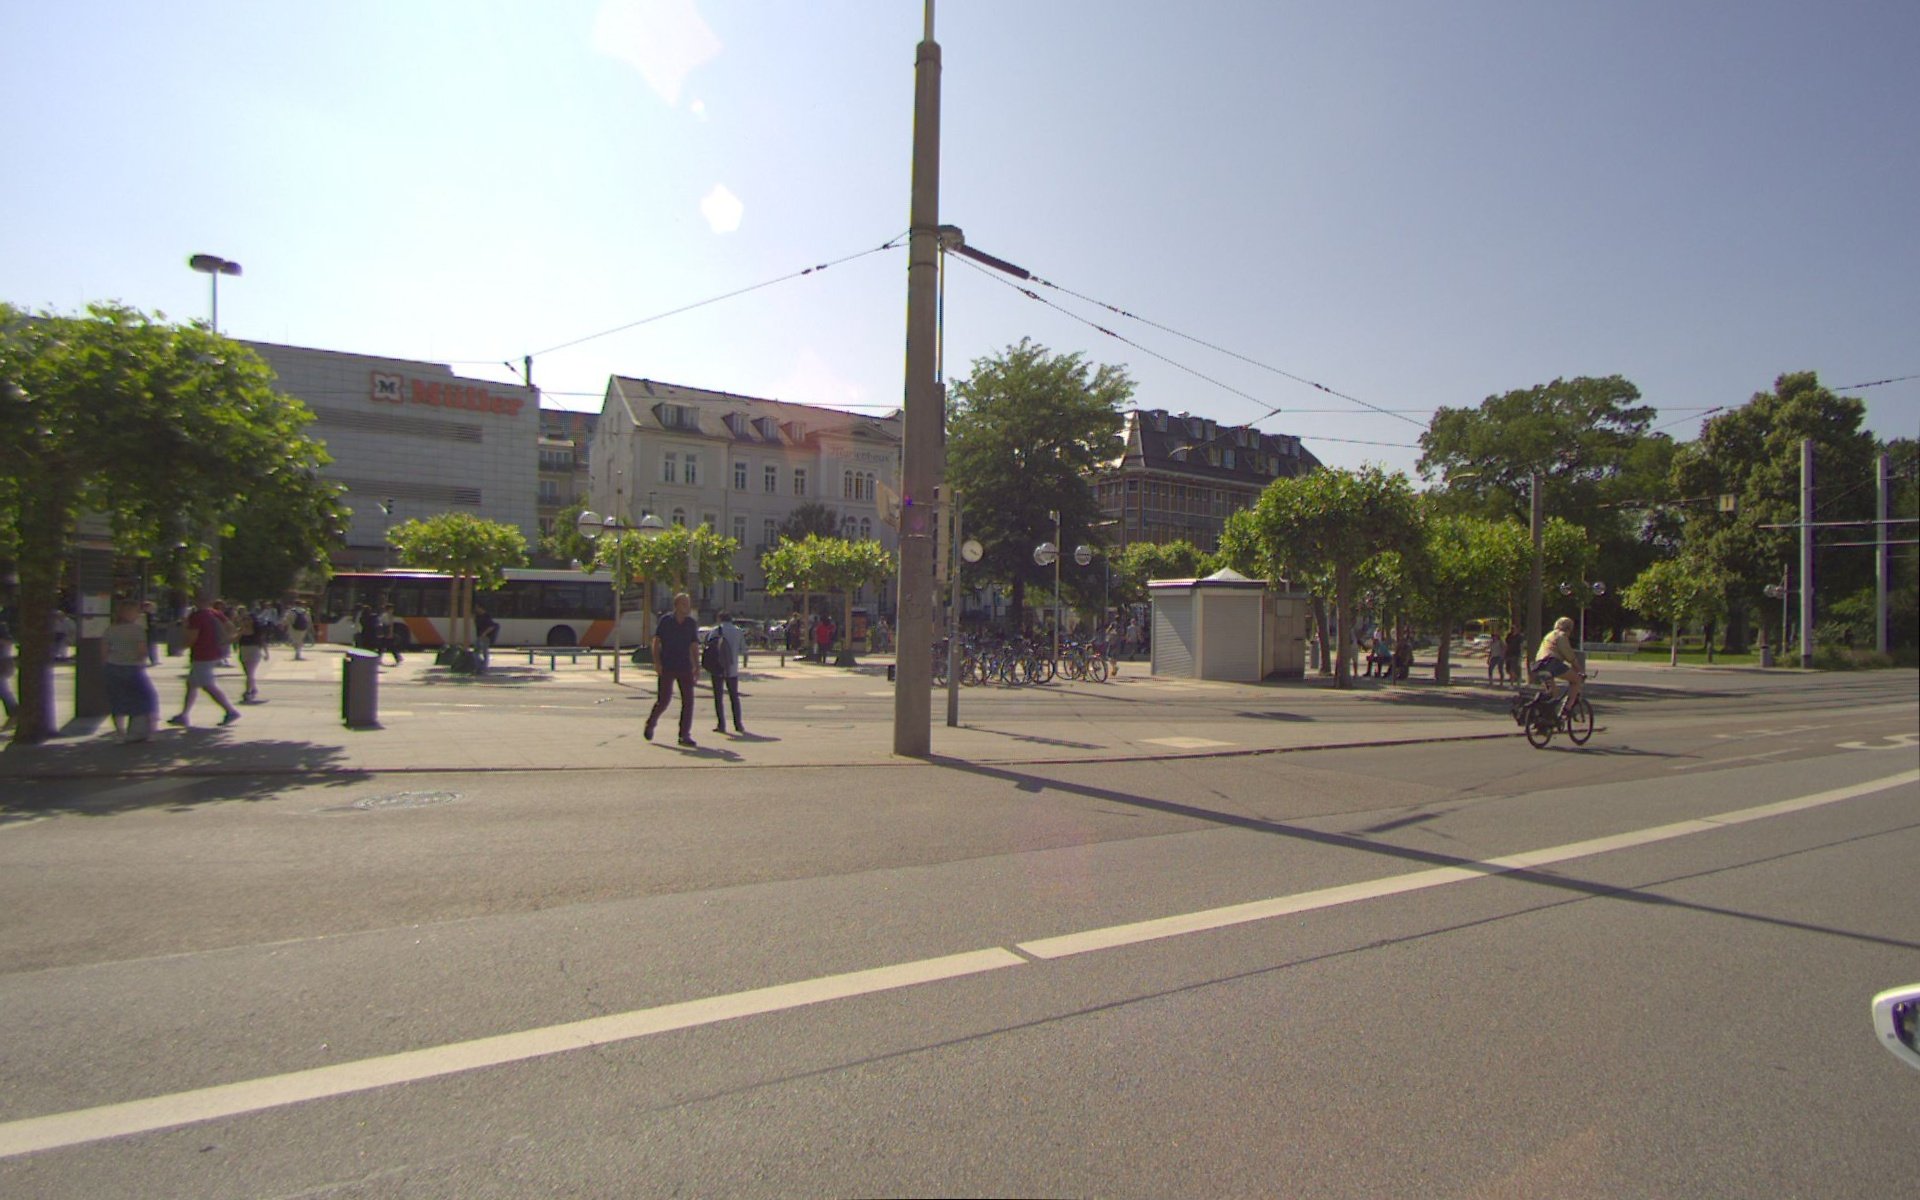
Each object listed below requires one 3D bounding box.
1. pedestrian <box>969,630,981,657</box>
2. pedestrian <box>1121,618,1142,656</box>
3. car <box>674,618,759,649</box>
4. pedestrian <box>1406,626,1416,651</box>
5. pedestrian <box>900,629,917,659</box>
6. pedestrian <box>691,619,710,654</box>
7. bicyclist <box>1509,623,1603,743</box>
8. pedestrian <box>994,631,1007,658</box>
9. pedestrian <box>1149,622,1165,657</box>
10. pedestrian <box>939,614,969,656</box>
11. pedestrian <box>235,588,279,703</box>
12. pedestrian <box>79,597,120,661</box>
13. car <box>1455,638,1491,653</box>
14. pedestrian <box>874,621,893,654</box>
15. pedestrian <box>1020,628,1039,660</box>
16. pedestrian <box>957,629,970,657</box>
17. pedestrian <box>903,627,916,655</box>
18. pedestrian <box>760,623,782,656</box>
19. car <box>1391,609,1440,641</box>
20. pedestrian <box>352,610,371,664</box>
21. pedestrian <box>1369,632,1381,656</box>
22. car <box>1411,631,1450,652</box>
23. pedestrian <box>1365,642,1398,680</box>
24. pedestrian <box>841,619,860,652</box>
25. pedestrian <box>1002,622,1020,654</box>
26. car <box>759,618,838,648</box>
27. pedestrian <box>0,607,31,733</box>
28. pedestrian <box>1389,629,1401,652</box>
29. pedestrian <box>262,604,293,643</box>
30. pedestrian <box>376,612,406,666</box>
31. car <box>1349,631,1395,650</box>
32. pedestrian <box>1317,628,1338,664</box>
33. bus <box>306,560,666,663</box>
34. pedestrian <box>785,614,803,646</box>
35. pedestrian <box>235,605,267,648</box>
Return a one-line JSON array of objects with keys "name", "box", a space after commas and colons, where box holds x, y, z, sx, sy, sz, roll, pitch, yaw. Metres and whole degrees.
[{"name": "pedestrian", "box": [0.719, 2.042, 47.275, 0.445, 1.279, 0.517, 0, -2, -14]}, {"name": "pedestrian", "box": [6.759, 1.456, 39.502, 0.667, 1.484, 0.625, -2, -2, 23]}, {"name": "car", "box": [-12.839, 1.760, 52.982, 3.962, 1.528, 1.743, 2, 1, -37]}, {"name": "pedestrian", "box": [29.873, 2.574, 66.538, 0.491, 1.630, 0.410, 1, -3, -40]}, {"name": "pedestrian", "box": [-2.266, 1.945, 44.295, 0.573, 1.279, 0.620, 0, -2, -21]}, {"name": "pedestrian", "box": [-11.061, 1.549, 42.828, 0.578, 1.484, 0.559, -3, -3, 41]}, {"name": "bicyclist", "box": [8.525, 1.149, 14.376, 0.892, 1.643, 0.814, 0, -1, -30]}, {"name": "pedestrian", "box": [1.895, 2.098, 47.207, 0.445, 1.279, 0.517, 0, -2, -14]}, {"name": "pedestrian", "box": [10.022, 2.000, 51.107, 0.537, 1.771, 0.630, -2, -3, 38]}, {"name": "pedestrian", "box": [-0.271, 1.560, 44.586, 1.064, 1.817, 0.964, 0, -2, -21]}, {"name": "pedestrian", "box": [-12.708, 0.811, 18.154, 0.560, 2.034, 0.686, 2, -1, -39]}, {"name": "pedestrian", "box": [-22.062, 0.750, 25.762, 0.615, 1.618, 0.678, -3, -3, 37]}, {"name": "car", "box": [54.182, 4.786, 106.051, 3.962, 1.528, 1.743, 2, 1, -37]}, {"name": "pedestrian", "box": [-3.494, 1.688, 45.698, 0.671, 1.484, 0.621, 0, -3, -26]}, {"name": "pedestrian", "box": [3.302, 2.084, 47.613, 0.671, 1.484, 0.621, 0, -3, -26]}, {"name": "pedestrian", "box": [0.164, 2.023, 47.093, 0.445, 1.279, 0.517, 0, -2, -14]}, {"name": "pedestrian", "box": [-2.346, 1.883, 46.429, 0.447, 1.279, 0.515, 0, -3, -26]}, {"name": "pedestrian", "box": [-8.597, 1.781, 45.602, 0.735, 1.484, 0.782, 1, -3, -35]}, {"name": "car", "box": [49.878, 2.729, 110.034, 5.359, 3.360, 2.115, 2, 1, -31]}, {"name": "pedestrian", "box": [-16.572, 1.036, 27.815, 0.412, 1.484, 0.402, 1, -3, -38]}, {"name": "pedestrian", "box": [28.604, 3.033, 69.199, 0.616, 1.630, 0.488, 1, -3, -40]}, {"name": "car", "box": [49.370, 4.394, 105.348, 3.602, 2.040, 1.983, 2, 1, -31]}, {"name": "pedestrian", "box": [13.493, 1.952, 32.173, 0.745, 1.186, 0.670, 1, -3, -36]}, {"name": "pedestrian", "box": [-4.935, 1.615, 45.395, 0.671, 1.484, 0.621, 0, -3, -26]}, {"name": "pedestrian", "box": [2.414, 1.807, 47.561, 0.669, 1.485, 0.623, 1, -1, -17]}, {"name": "car", "box": [-9.025, 1.853, 56.242, 3.962, 1.528, 1.743, 2, 1, -37]}, {"name": "pedestrian", "box": [-12.110, 0.871, 12.485, 0.672, 1.544, 0.620, 1, -3, -30]}, {"name": "pedestrian", "box": [29.770, 2.777, 68.731, 0.656, 1.512, 0.521, 1, -3, -38]}, {"name": "pedestrian", "box": [-28.219, 0.990, 41.542, 0.669, 1.569, 0.846, -2, -3, 33]}, {"name": "pedestrian", "box": [-15.786, 1.090, 27.869, 0.518, 1.484, 0.586, -3, -3, 40]}, {"name": "car", "box": [39.089, 3.796, 95.264, 4.798, 1.685, 1.743, 2, 1, -37]}, {"name": "pedestrian", "box": [18.163, 2.274, 49.696, 0.697, 1.728, 0.673, 1, -2, -31]}, {"name": "bus", "box": [-18.050, 0.474, 39.291, 12.241, 3.465, 3.059, 2, 1, -12]}, {"name": "pedestrian", "box": [-7.679, 1.394, 46.470, 0.620, 1.484, 0.577, 1, -3, -43]}, {"name": "pedestrian", "box": [-24.513, 0.919, 34.751, 0.613, 1.484, 0.680, -2, -3, 26]}]
